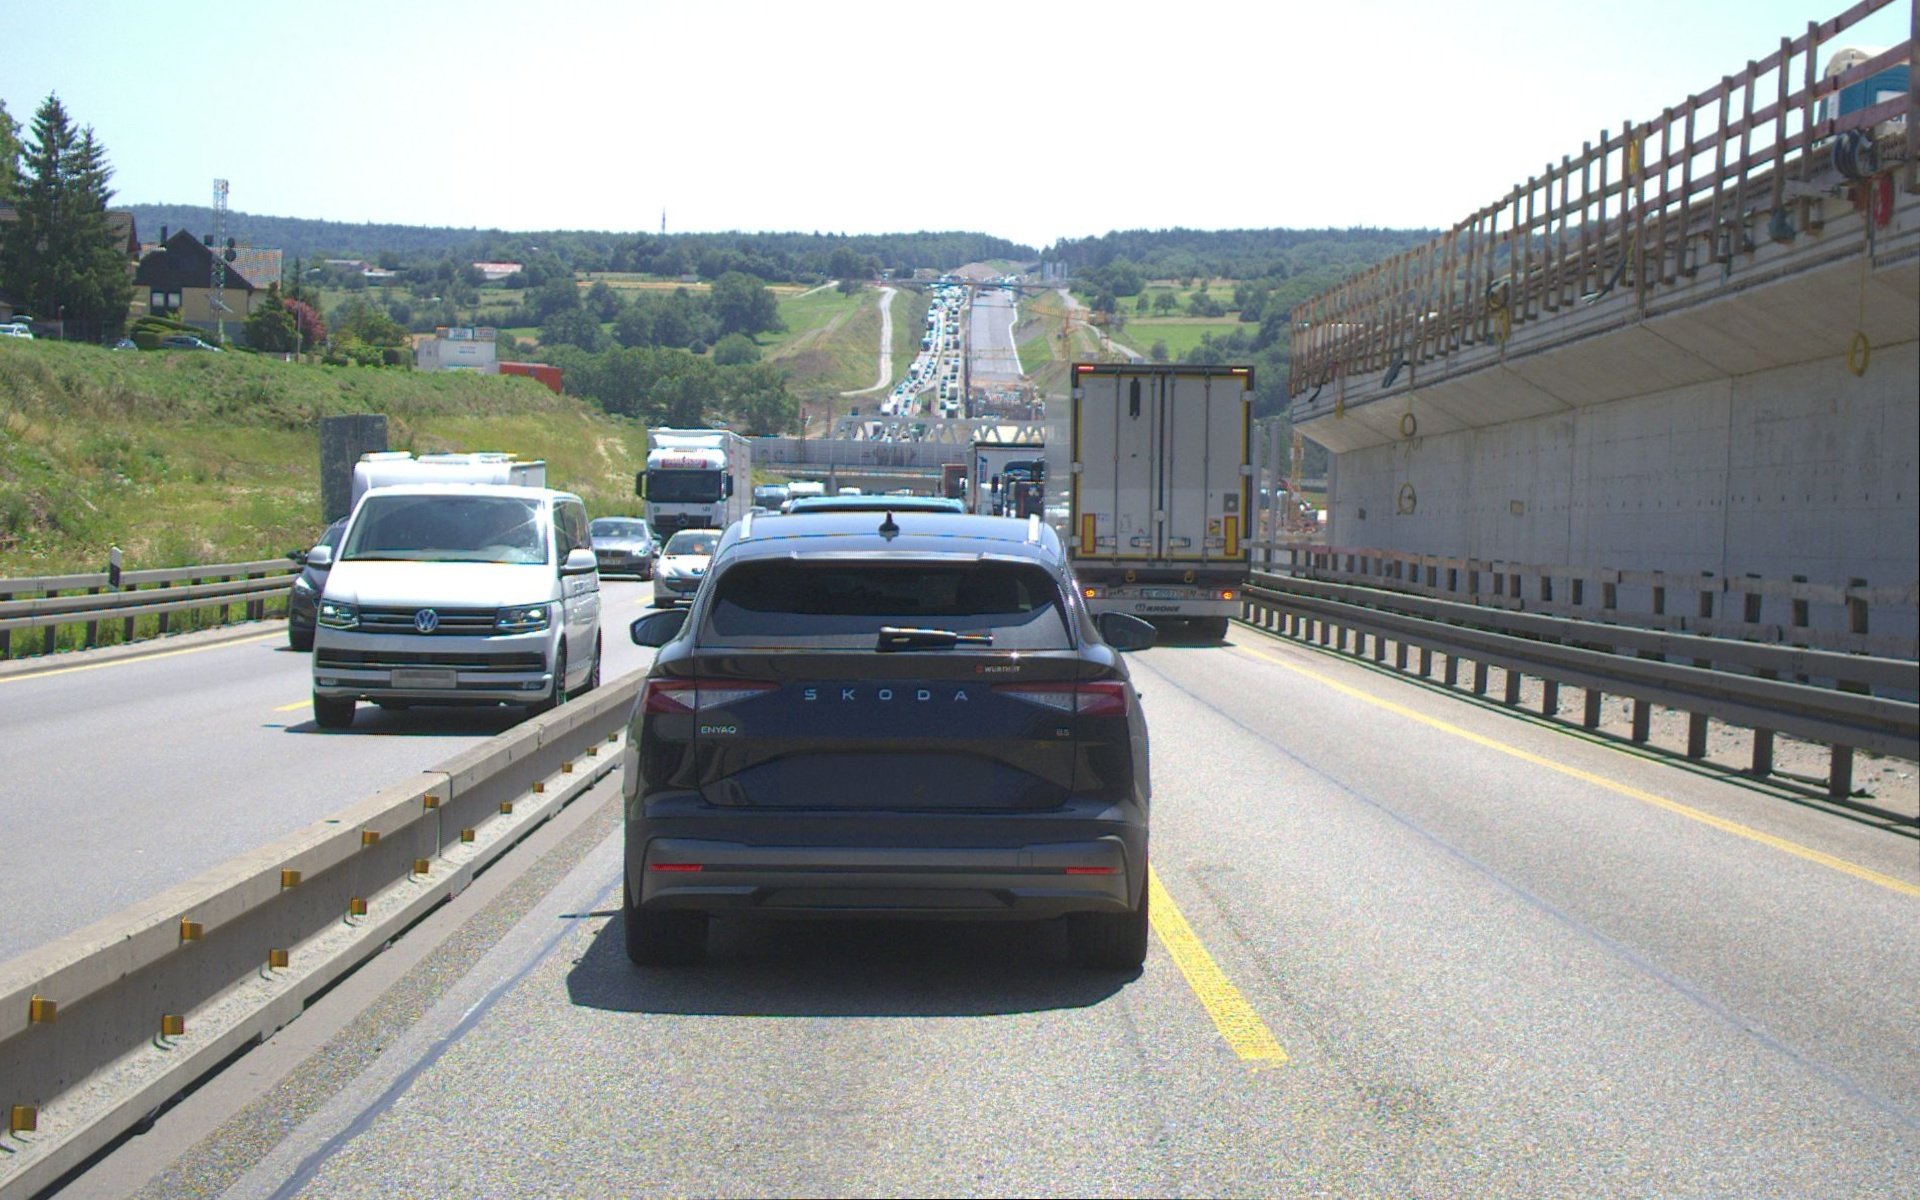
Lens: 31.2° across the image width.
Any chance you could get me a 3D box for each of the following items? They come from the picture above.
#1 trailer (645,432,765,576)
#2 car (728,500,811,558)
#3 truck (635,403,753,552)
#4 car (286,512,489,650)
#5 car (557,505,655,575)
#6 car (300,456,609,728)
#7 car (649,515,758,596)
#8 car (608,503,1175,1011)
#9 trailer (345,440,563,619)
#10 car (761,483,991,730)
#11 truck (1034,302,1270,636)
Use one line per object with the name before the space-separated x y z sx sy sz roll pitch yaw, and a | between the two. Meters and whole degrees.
trailer | -8.433 -3.076 115.340 2.760 4.258 14.634 5 0 -1
car | -4.662 -1.725 84.470 1.771 1.284 4.000 2 0 0
truck | -8.353 -3.788 108.750 2.753 4.212 8.099 5 0 0
car | -7.496 -0.287 45.450 1.877 1.706 4.648 1 1 0
car | -8.304 -1.398 80.955 1.872 1.437 4.000 5 0 -1
car | -4.049 -0.074 28.293 1.862 2.007 4.805 1 0 -1
car | -4.709 -0.806 63.543 1.702 1.436 4.000 0 0 0
car | -0.280 0.476 12.886 1.782 1.592 3.755 1 1 -2
trailer | -7.726 -1.038 53.137 2.485 2.604 5.867 0 0 0
car | -0.781 0.025 29.696 1.749 1.888 3.756 4 1 -3
truck | 2.822 -1.865 54.192 2.846 4.599 11.811 2 0 0
